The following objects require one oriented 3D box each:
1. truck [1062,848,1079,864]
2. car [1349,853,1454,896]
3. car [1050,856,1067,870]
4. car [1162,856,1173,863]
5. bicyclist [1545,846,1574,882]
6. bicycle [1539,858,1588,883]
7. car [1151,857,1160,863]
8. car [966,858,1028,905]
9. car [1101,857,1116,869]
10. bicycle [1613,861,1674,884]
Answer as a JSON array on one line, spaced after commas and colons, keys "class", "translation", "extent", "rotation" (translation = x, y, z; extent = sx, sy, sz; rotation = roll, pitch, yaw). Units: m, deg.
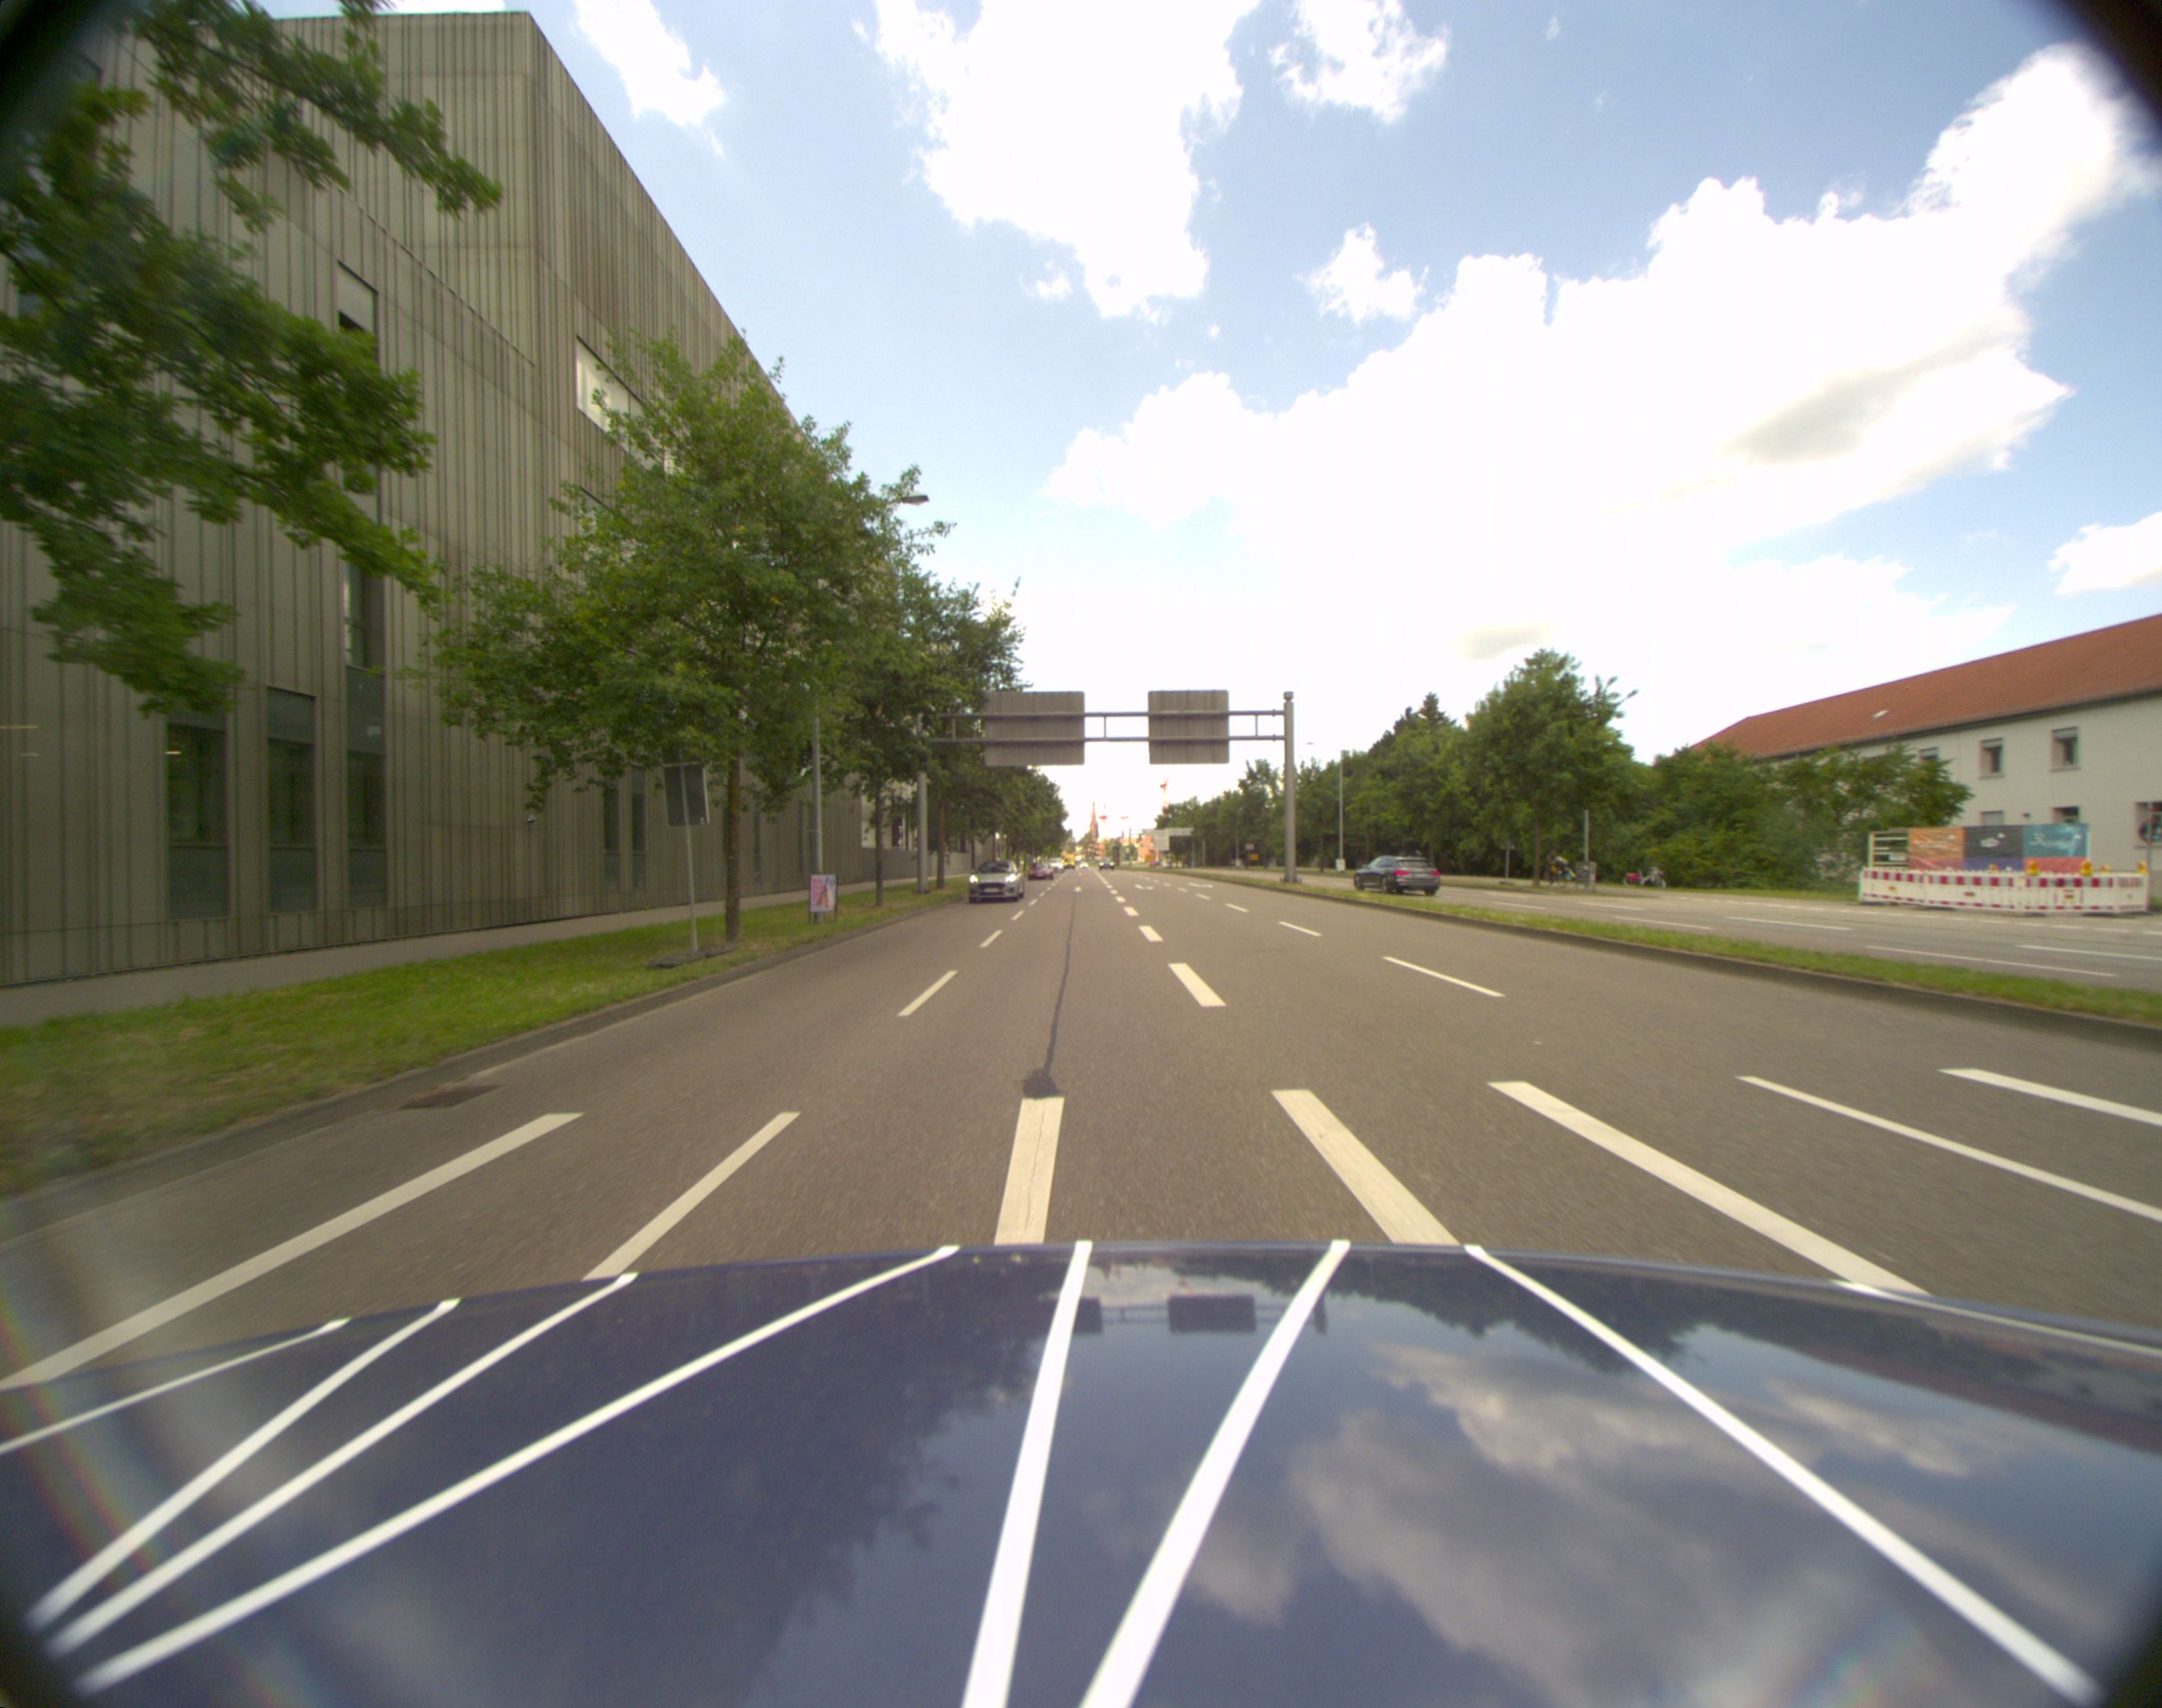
[{"class": "truck", "translation": [-2.026, 0.393, 144.755], "extent": [3.066, 3.095, 7.935], "rotation": [0, 0, 0]}, {"class": "car", "translation": [12.145, 0.727, 29.178], "extent": [1.964, 1.508, 4.909], "rotation": [0, 0, 0]}, {"class": "car", "translation": [-2.406, 0.950, 82.893], "extent": [1.713, 1.487, 3.650], "rotation": [0, 0, 0]}, {"class": "car", "translation": [17.323, 1.094, 152.349], "extent": [1.713, 1.487, 3.698], "rotation": [0, 0, 1]}, {"class": "bicyclist", "translation": [22.625, 0.471, 35.944], "extent": [0.740, 1.648, 0.980], "rotation": [0, 0, -4]}, {"class": "bicycle", "translation": [22.634, 0.760, 35.701], "extent": [0.752, 1.155, 2.257], "rotation": [0, 0, -4]}, {"class": "car", "translation": [18.635, 1.562, 190.215], "extent": [1.713, 1.487, 4.072], "rotation": [0, 0, 1]}, {"class": "car", "translation": [-3.086, 0.983, 28.731], "extent": [1.823, 1.565, 3.954], "rotation": [-2, 0, 0]}, {"class": "car", "translation": [3.394, 1.121, 93.631], "extent": [1.782, 1.487, 3.598], "rotation": [0, 0, 0]}, {"class": "bicycle", "translation": [25.895, 0.837, 34.994], "extent": [0.665, 1.009, 2.143], "rotation": [-1, 1, -45]}]
